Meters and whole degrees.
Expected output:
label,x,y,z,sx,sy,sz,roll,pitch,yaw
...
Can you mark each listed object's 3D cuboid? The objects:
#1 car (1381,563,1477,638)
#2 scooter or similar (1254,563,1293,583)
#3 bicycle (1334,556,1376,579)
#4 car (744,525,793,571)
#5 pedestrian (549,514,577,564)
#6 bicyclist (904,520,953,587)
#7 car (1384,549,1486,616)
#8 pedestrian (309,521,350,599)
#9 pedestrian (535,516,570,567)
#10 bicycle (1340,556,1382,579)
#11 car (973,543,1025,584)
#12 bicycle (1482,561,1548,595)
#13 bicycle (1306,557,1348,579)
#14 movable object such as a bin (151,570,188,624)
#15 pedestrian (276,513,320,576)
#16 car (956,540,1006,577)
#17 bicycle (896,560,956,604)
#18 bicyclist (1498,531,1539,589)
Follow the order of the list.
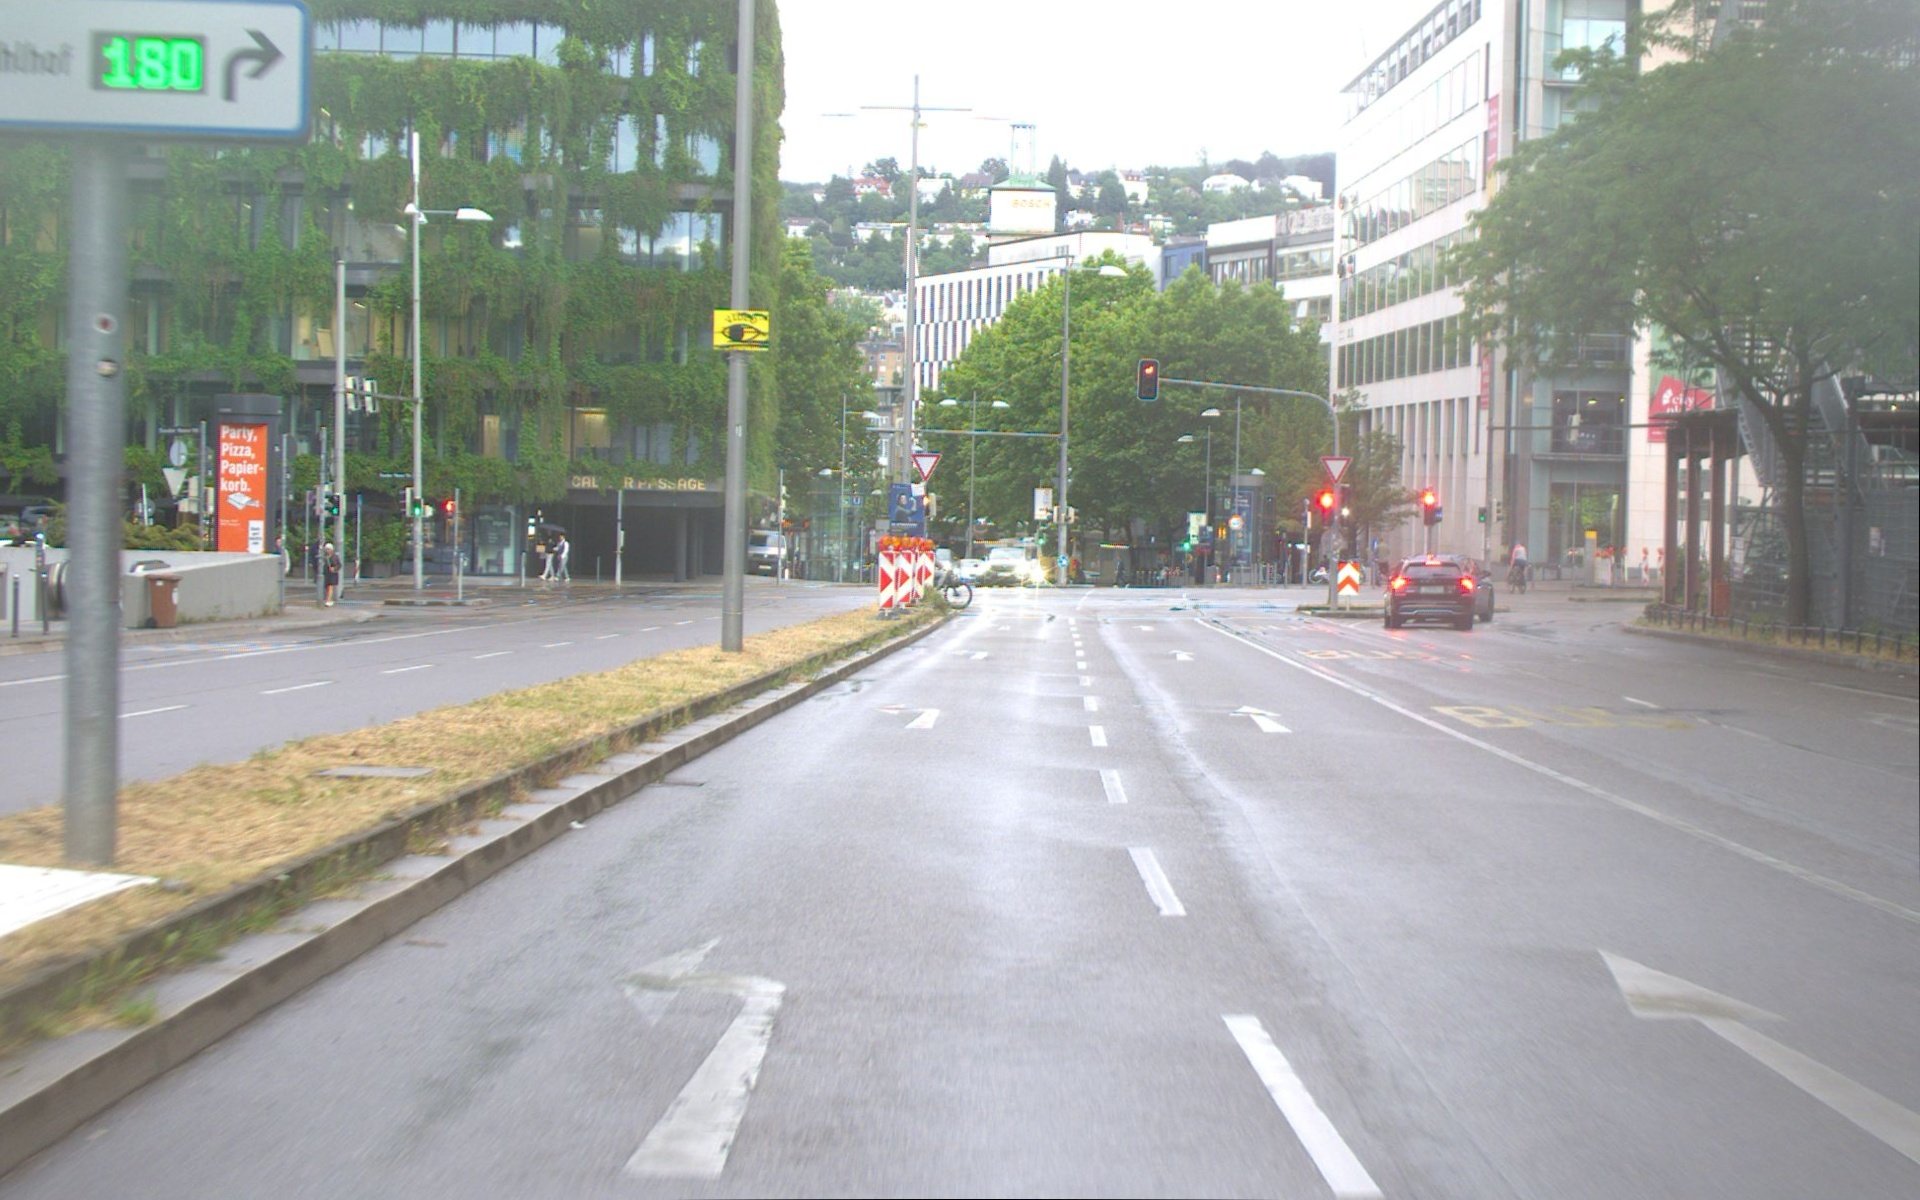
label,x,y,z,sx,sy,sz,roll,pitch,yaw
car,10.123,-0.012,74.404,1.778,1.534,4.146,1,1,4
scooter or similar,14.331,-1.235,157.221,1.745,0.875,0.489,0,1,-17
bicycle,16.454,-1.355,143.103,1.799,0.931,0.474,1,1,43
car,-8.162,-2.221,146.670,1.993,1.888,4.465,1,1,-2
pedestrian,-13.899,-2.132,120.326,0.741,1.752,0.976,0,1,-21
bicyclist,-0.801,-1.184,87.900,0.846,1.698,1.298,1,1,19
car,11.315,-0.436,81.665,1.705,1.524,4.423,1,1,17
pedestrian,-15.666,-0.991,85.407,0.805,1.879,0.866,-3,1,-4
pedestrian,-14.266,-2.049,120.231,0.935,1.752,1.172,0,1,-21
bicycle,16.585,-1.344,142.131,1.799,0.931,0.474,1,1,43
car,1.549,-1.462,136.383,1.993,1.545,4.556,1,1,1
bicycle,19.122,-0.757,118.482,0.791,1.113,2.255,0,1,-38
bicycle,16.006,-1.408,150.051,1.795,0.931,0.475,1,1,5
movable object such as a bin,-13.332,-0.054,57.966,0.531,0.894,0.682,-1,1,-7
pedestrian,-17.380,-1.455,90.301,0.920,1.580,0.834,-3,1,-2
car,1.022,-2.082,173.347,2.175,1.817,4.645,1,1,-4
bicycle,-0.856,-0.464,87.923,0.846,1.099,2.150,1,1,20
bicyclist,19.230,-1.387,118.317,0.791,1.968,1.114,0,1,-38
